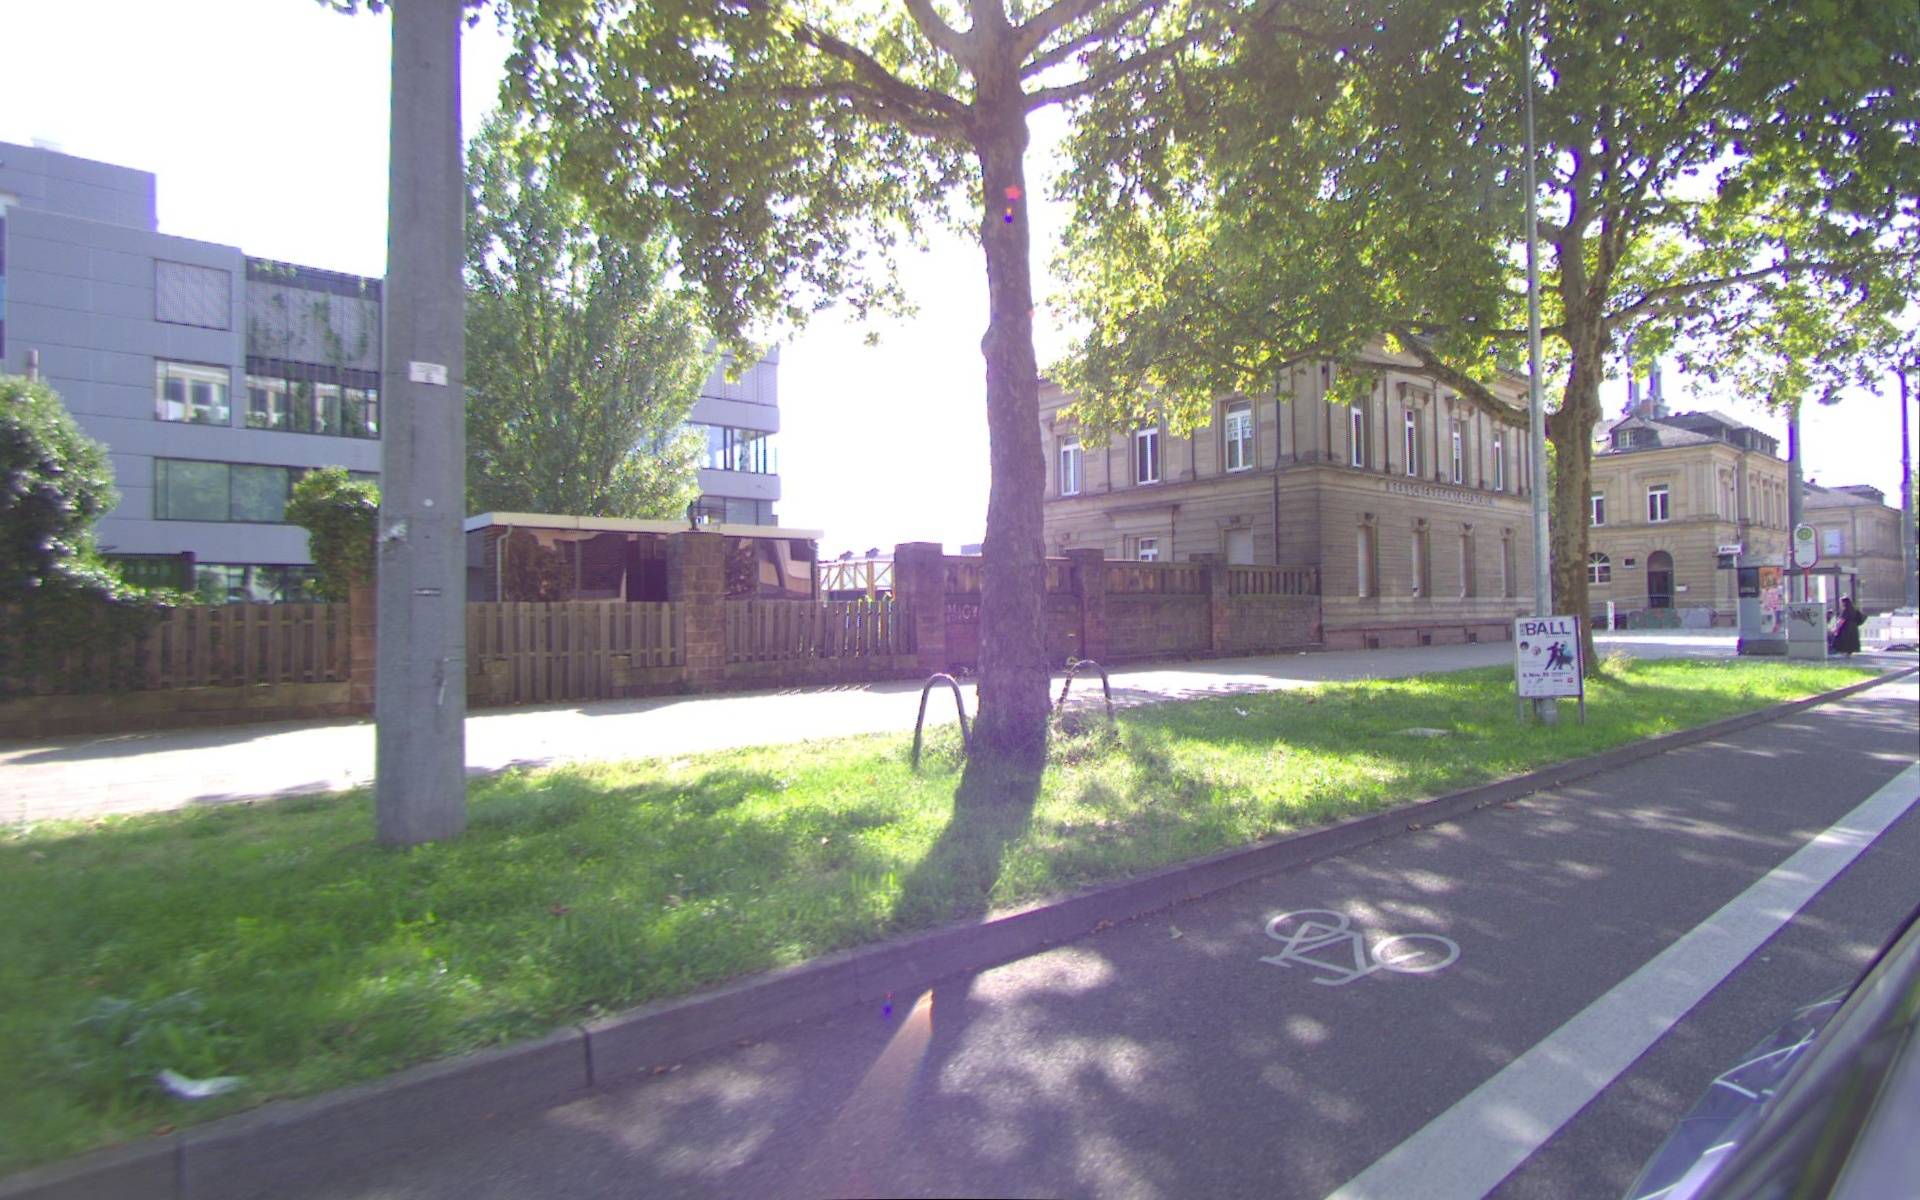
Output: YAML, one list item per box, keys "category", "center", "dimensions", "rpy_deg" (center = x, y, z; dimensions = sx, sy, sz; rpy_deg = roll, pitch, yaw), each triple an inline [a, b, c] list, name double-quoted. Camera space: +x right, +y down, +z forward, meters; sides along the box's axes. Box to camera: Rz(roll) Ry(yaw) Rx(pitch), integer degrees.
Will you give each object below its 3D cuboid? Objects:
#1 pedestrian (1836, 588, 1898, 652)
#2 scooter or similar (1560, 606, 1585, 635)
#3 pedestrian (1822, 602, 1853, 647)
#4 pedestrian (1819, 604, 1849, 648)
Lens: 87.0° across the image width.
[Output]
- category: "pedestrian"
  center: [23.576, 0.521, 26.335]
  dimensions: [0.871, 1.647, 0.819]
  rpy_deg: [-1, -1, 15]
- category: "scooter or similar"
  center: [25.717, 0.862, 42.488]
  dimensions: [1.203, 1.181, 0.410]
  rpy_deg: [0, -1, -36]
- category: "pedestrian"
  center: [25.818, 0.707, 29.765]
  dimensions: [0.746, 1.293, 0.609]
  rpy_deg: [0, 0, -42]
- category: "pedestrian"
  center: [25.253, 0.735, 29.246]
  dimensions: [0.564, 1.233, 0.609]
  rpy_deg: [0, 0, -42]
